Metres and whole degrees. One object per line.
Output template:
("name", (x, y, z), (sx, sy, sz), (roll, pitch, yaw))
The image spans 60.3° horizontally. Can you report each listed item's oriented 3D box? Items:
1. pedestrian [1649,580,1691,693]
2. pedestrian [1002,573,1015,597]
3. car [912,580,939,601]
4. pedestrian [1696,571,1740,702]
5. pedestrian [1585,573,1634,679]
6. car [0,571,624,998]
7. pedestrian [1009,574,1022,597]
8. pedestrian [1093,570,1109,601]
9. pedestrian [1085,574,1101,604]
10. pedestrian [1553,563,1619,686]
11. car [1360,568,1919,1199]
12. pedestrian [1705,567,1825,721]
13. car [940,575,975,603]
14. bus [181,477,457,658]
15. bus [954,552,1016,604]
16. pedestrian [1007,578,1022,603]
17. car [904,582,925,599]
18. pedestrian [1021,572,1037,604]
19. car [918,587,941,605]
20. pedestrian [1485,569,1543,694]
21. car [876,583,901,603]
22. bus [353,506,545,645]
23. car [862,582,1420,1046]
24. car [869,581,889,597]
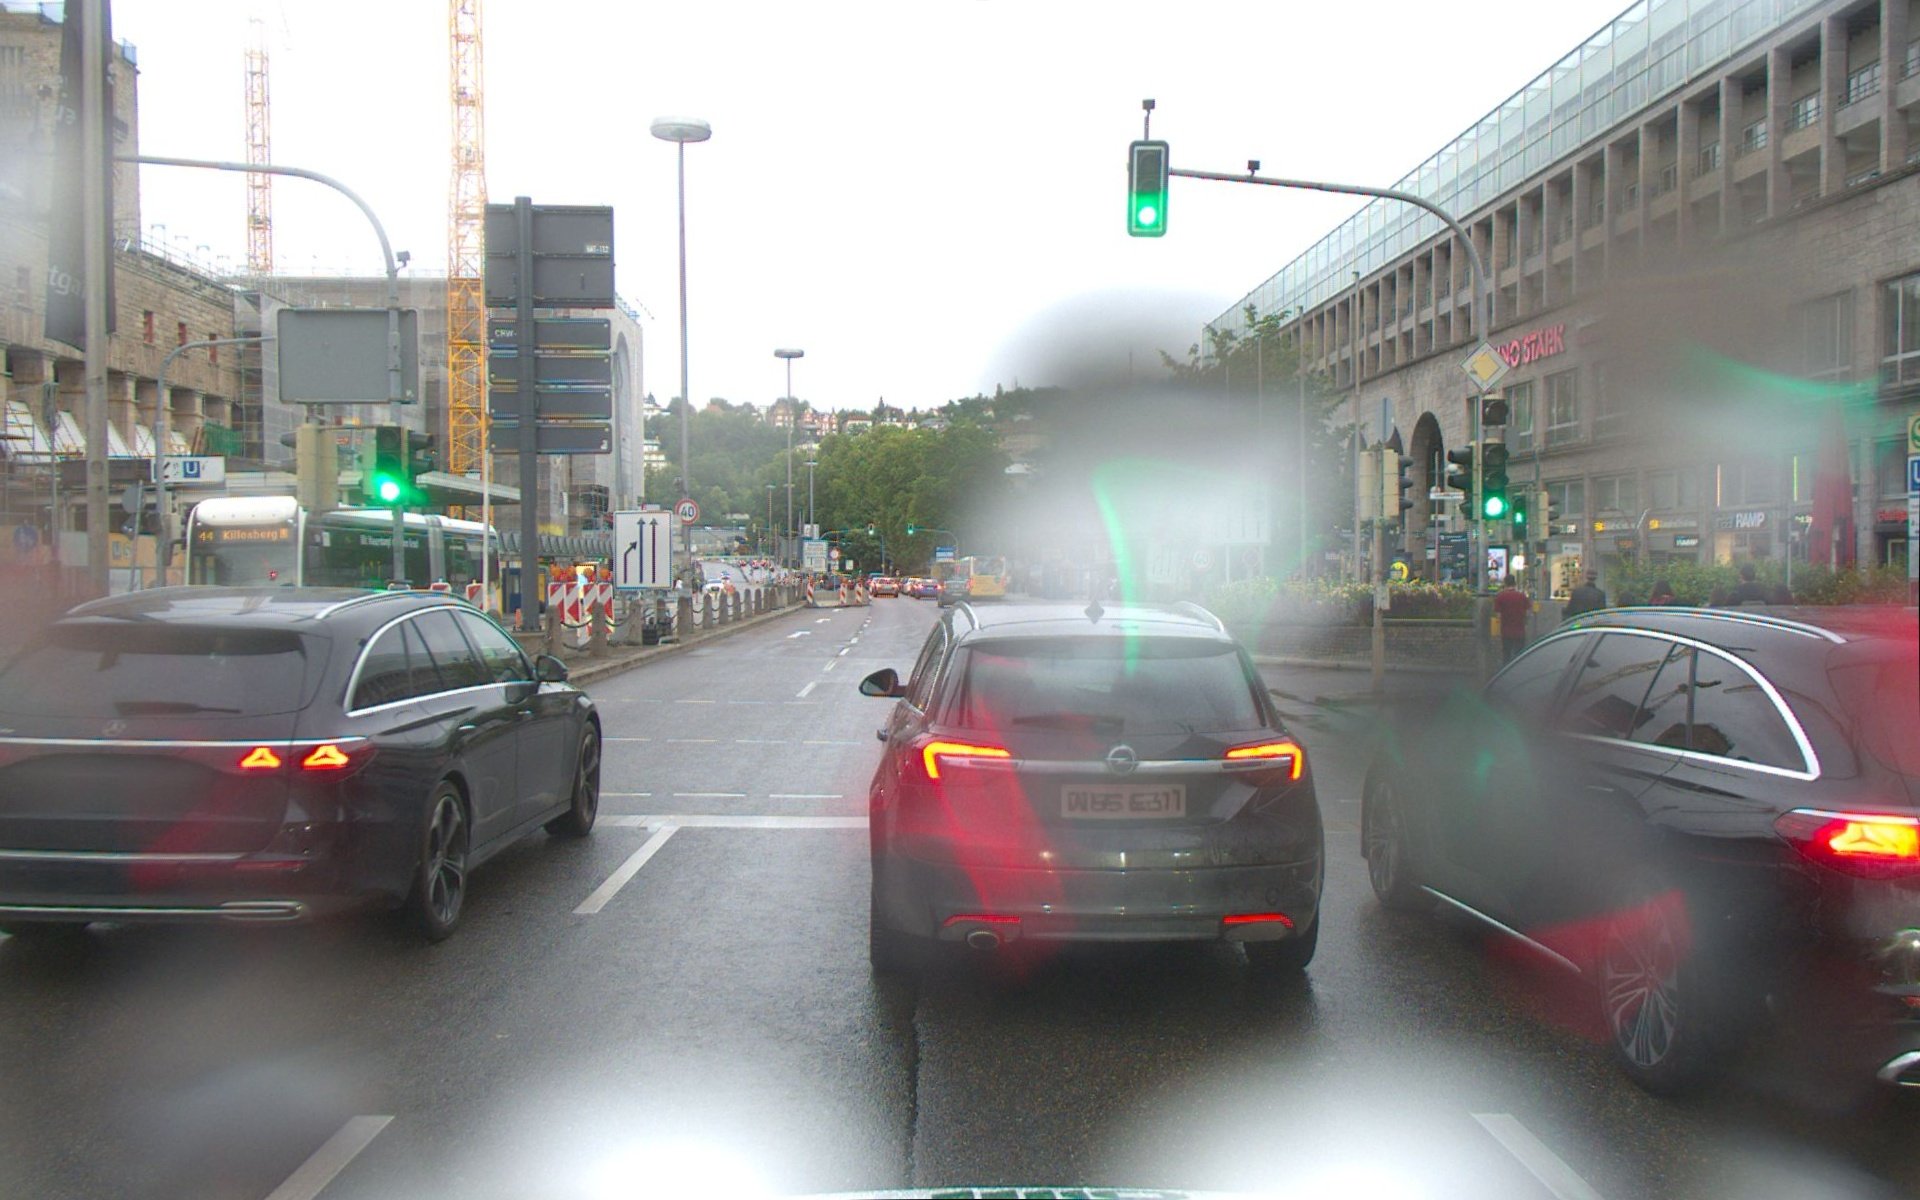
("pedestrian", (9.916, 0.503, 23.110), (0.456, 1.544, 0.449), (1, 0, 33))
("pedestrian", (4.537, -1.393, 154.901), (1.174, 2.186, 1.228), (1, 0, 0))
("car", (-2.477, -0.669, 118.155), (1.718, 1.422, 4.645), (1, 0, -3))
("pedestrian", (10.484, 0.495, 22.874), (0.472, 1.782, 0.665), (-2, 0, 27))
("pedestrian", (9.117, 0.357, 23.227), (0.617, 1.452, 0.490), (1, 0, 21))
("car", (-3.021, 0.656, 8.170), (1.817, 1.495, 4.586), (1, 0, -1))
("pedestrian", (5.258, -1.356, 158.030), (1.174, 2.186, 1.228), (1, 0, 0))
("pedestrian", (8.008, -0.811, 94.178), (0.748, 1.720, 0.824), (1, 0, -5))
("pedestrian", (7.692, -0.640, 95.468), (0.748, 1.720, 0.824), (1, 0, -5))
("pedestrian", (9.032, 0.352, 23.874), (0.740, 1.747, 0.466), (1, 0, -5))
("car", (3.006, 0.708, 6.265), (1.757, 1.528, 4.627), (1, 0, -1))
("pedestrian", (9.685, 0.521, 19.919), (1.074, 1.782, 0.653), (-2, 0, -4))
("car", (-0.135, -0.568, 88.209), (1.808, 1.422, 3.666), (1, 0, -1))
("bus", (-14.710, -0.656, 39.075), (2.614, 3.665, 10.237), (1, 0, -1))
("bus", (1.697, -1.490, 120.772), (4.089, 3.529, 14.651), (1, 0, -1))
("pedestrian", (4.756, -0.806, 144.575), (1.174, 2.186, 1.228), (1, 0, 0))
("car", (-3.914, -0.810, 142.738), (1.808, 1.422, 3.563), (1, 0, -1))
("pedestrian", (5.434, -0.964, 130.661), (1.174, 2.478, 1.228), (1, 0, 0))
("car", (-2.448, -0.311, 131.036), (1.718, 1.422, 4.400), (1, 0, -2))
("pedestrian", (8.050, 0.454, 24.016), (0.560, 1.783, 0.676), (1, -1, 42))
("car", (-5.392, -0.502, 124.875), (1.808, 1.422, 3.563), (1, 0, -1))
("bus", (-14.921, -0.642, 49.258), (2.614, 3.665, 10.209), (1, 0, -1))
("car", (0.562, 0.716, 7.488), (1.837, 1.512, 3.999), (1, 0, -1))
("car", (-7.419, -1.007, 151.735), (1.723, 1.422, 3.563), (1, 0, -1))
